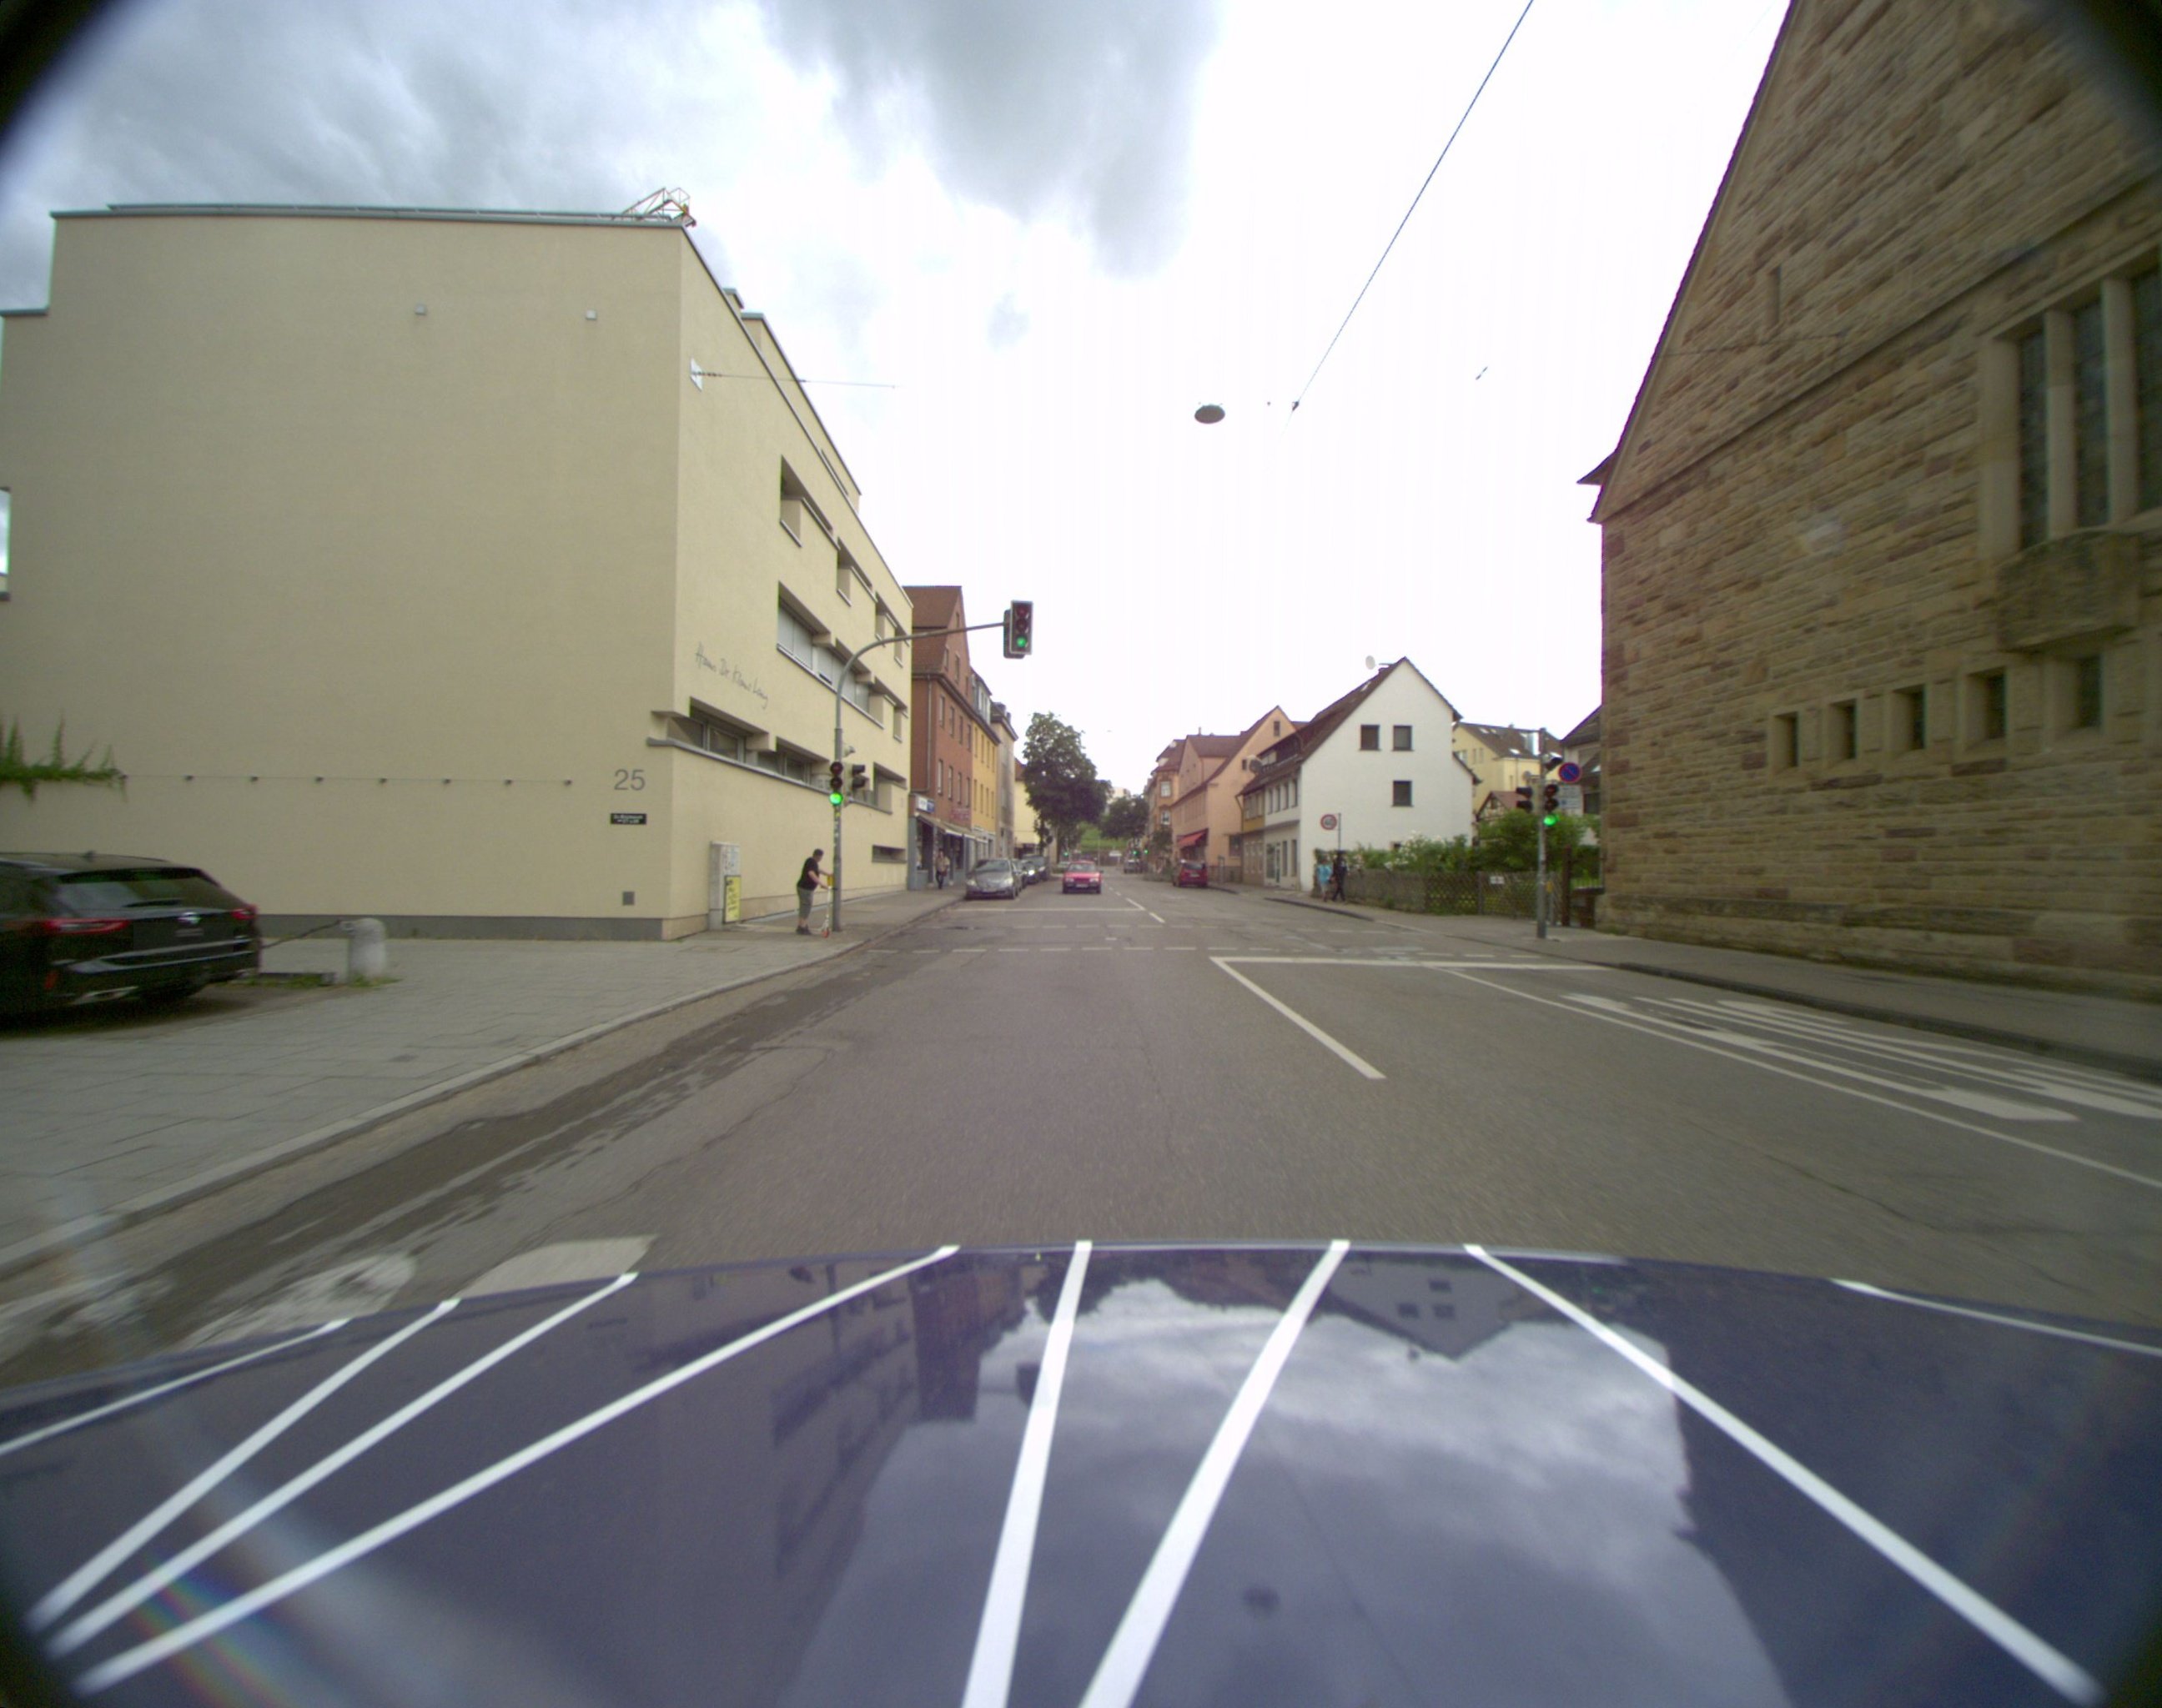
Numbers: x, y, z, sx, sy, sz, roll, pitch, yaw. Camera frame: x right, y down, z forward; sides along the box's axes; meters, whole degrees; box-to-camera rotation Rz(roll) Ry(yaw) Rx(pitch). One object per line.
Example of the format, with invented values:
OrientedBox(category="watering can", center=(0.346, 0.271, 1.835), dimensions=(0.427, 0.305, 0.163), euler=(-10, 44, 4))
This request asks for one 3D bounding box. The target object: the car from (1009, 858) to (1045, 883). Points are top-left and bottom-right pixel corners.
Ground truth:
OrientedBox(category="car", center=(-3.282, 0.984, 46.673), dimensions=(1.755, 1.397, 4.511), euler=(1, 0, 1))

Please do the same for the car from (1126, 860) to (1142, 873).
OrientedBox(category="car", center=(6.952, 1.617, 99.950), dimensions=(1.895, 1.702, 4.742), euler=(2, 0, 2))

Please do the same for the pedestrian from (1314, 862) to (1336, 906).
OrientedBox(category="pedestrian", center=(8.833, 1.069, 27.511), dimensions=(0.572, 1.545, 0.697), euler=(-1, 0, 1))

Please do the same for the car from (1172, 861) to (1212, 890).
OrientedBox(category="car", center=(6.668, 1.253, 46.122), dimensions=(1.707, 1.565, 4.450), euler=(2, 0, 0))

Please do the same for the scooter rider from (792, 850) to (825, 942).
OrientedBox(category="scooter rider", center=(-4.976, 0.764, 13.903), dimensions=(0.454, 1.622, 0.504), euler=(3, 2, -14))

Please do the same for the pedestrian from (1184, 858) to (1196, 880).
OrientedBox(category="pedestrian", center=(8.433, 1.149, 58.687), dimensions=(0.732, 1.619, 0.758), euler=(-2, 1, -3))

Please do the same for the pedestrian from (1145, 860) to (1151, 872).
OrientedBox(category="pedestrian", center=(9.066, 1.616, 103.256), dimensions=(0.740, 1.708, 1.156), euler=(0, 0, -2))

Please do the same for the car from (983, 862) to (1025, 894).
OrientedBox(category="car", center=(-3.425, 1.031, 34.340), dimensions=(1.555, 1.325, 3.812), euler=(0, 0, -1))

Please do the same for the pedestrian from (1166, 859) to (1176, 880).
OrientedBox(category="pedestrian", center=(7.746, 1.315, 65.305), dimensions=(0.740, 1.744, 0.983), euler=(0, 0, 1))

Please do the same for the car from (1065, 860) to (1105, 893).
OrientedBox(category="car", center=(0.244, 0.999, 35.123), dimensions=(1.626, 1.387, 4.001), euler=(0, 0, 3))

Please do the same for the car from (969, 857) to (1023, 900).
OrientedBox(category="car", center=(-3.244, 0.908, 29.546), dimensions=(1.716, 1.551, 3.785), euler=(0, 0, -1))

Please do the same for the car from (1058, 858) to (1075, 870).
OrientedBox(category="car", center=(-1.901, 1.295, 100.495), dimensions=(1.771, 1.457, 4.785), euler=(0, 0, 5))

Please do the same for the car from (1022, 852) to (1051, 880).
OrientedBox(category="car", center=(-2.983, 0.776, 51.662), dimensions=(1.824, 1.770, 4.402), euler=(0, 0, -1))

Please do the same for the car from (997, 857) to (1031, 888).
OrientedBox(category="car", center=(-3.484, 0.950, 40.051), dimensions=(1.606, 1.509, 4.208), euler=(0, 0, -2))

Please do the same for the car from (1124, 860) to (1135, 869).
OrientedBox(category="car", center=(7.948, 1.772, 124.976), dimensions=(1.582, 1.374, 4.355), euler=(2, 0, 2))

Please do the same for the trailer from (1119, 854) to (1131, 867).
OrientedBox(category="trailer", center=(9.677, 1.454, 167.010), dimensions=(2.450, 2.787, 6.305), euler=(2, 0, 4))

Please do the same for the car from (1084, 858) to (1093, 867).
OrientedBox(category="car", center=(1.744, 1.942, 169.426), dimensions=(1.998, 1.970, 4.878), euler=(0, 0, 1))

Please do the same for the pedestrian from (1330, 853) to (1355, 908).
OrientedBox(category="pedestrian", center=(9.086, 0.910, 26.429), dimensions=(0.572, 1.837, 0.697), euler=(-3, 0, 1))

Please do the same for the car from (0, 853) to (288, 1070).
OrientedBox(category="car", center=(-10.161, 0.797, 6.628), dimensions=(4.522, 1.565, 1.852), euler=(1, 1, 0))

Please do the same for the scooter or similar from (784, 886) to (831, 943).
OrientedBox(category="scooter or similar", center=(-4.989, 1.098, 13.901), dimensions=(0.664, 0.940, 0.819), euler=(3, 2, -11))

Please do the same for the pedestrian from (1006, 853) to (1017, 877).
OrientedBox(category="pedestrian", center=(-4.870, 0.758, 53.012), dimensions=(0.616, 1.643, 0.983), euler=(3, 0, 0))

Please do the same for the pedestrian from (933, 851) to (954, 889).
OrientedBox(category="pedestrian", center=(-5.994, 0.687, 33.054), dimensions=(0.703, 1.639, 0.888), euler=(2, 0, 0))
